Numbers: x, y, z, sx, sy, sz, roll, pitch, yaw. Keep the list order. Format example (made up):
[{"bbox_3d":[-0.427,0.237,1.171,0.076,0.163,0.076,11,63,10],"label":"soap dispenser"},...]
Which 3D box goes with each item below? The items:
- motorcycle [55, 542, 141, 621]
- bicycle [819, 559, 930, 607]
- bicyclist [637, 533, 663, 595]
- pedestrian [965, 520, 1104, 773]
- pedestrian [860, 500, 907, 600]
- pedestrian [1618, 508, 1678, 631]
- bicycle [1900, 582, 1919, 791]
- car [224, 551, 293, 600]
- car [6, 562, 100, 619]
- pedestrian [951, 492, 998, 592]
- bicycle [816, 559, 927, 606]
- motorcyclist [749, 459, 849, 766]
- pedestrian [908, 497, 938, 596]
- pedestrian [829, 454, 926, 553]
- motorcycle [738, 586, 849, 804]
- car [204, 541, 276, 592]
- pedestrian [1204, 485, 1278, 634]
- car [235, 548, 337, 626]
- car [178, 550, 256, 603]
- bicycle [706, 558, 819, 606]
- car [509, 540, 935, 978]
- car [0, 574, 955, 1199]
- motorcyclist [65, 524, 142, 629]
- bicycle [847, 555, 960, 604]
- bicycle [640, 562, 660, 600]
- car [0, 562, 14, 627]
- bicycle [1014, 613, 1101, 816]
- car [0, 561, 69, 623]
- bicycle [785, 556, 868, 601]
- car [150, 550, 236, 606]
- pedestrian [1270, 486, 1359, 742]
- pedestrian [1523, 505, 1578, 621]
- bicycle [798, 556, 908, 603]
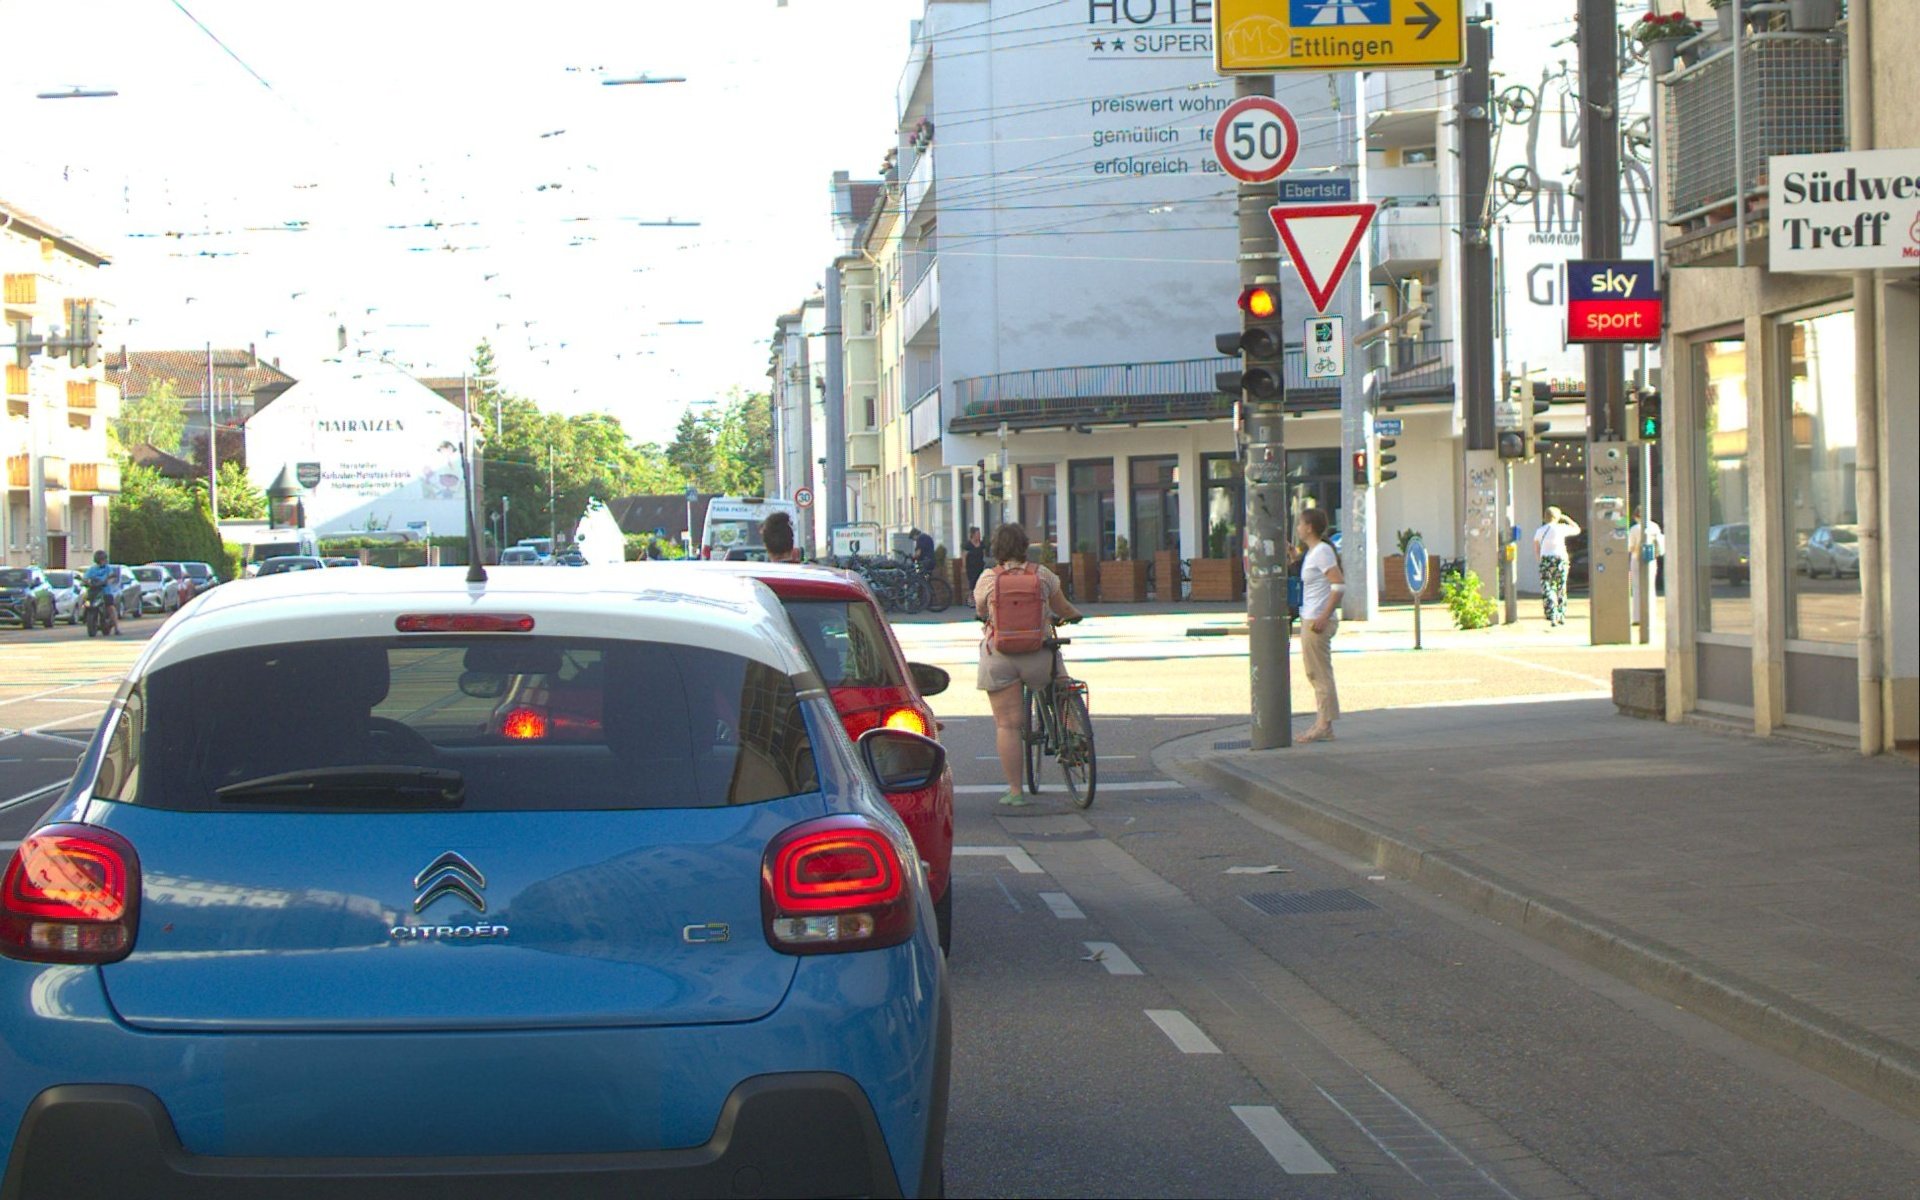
[{"bbox_3d":[-16.720,-0.363,66.768,0.923,1.481,3.726,1,1,-3],"label":"motorcycle"},{"bbox_3d":[-1.678,-0.329,67.258,2.132,0.898,0.367,1,0,-9],"label":"bicycle"},{"bbox_3d":[-7.396,-0.867,82.073,0.561,1.472,0.748,1,0,-7],"label":"bicyclist"},{"bbox_3d":[0.431,0.266,20.245,0.777,1.455,0.682,1,0,-1],"label":"pedestrian"},{"bbox_3d":[-1.544,-1.003,69.179,0.630,2.007,0.724,0,0,-36],"label":"pedestrian"},{"bbox_3d":[9.358,-0.416,46.800,0.752,1.652,0.883,1,0,10],"label":"pedestrian"},{"bbox_3d":[4.847,0.422,15.826,0.542,0.995,1.706,1,1,-1],"label":"bicycle"},{"bbox_3d":[-24.733,-0.883,121.307,1.846,1.681,3.875,1,1,-4],"label":"car"},{"bbox_3d":[-24.300,-0.272,92.193,1.732,1.493,4.001,1,1,-5],"label":"car"},{"bbox_3d":[0.290,-1.172,69.348,0.709,2.007,0.760,1,0,-20],"label":"pedestrian"},{"bbox_3d":[-1.747,-0.339,67.663,2.132,0.898,0.367,1,0,-9],"label":"bicycle"},{"bbox_3d":[-0.915,0.066,19.625,0.526,1.710,0.717,1,0,-1],"label":"motorcyclist"},{"bbox_3d":[-0.761,-1.086,70.310,0.577,2.007,0.626,1,0,-3],"label":"pedestrian"},{"bbox_3d":[-1.747,-2.034,73.536,1.993,2.007,4.000,1,1,-1],"label":"pedestrian"},{"bbox_3d":[-0.922,0.501,19.442,0.526,1.136,2.290,1,1,-1],"label":"motorcycle"},{"bbox_3d":[-24.417,-1.139,116.660,1.833,1.681,4.001,1,1,-4],"label":"car"},{"bbox_3d":[3.836,-0.548,46.974,0.926,2.007,0.759,1,0,-1],"label":"pedestrian"},{"bbox_3d":[-14.948,-0.301,76.397,1.774,1.660,3.857,1,1,-4],"label":"car"},{"bbox_3d":[-24.070,-0.776,111.513,1.882,1.681,4.001,1,1,-4],"label":"car"},{"bbox_3d":[-3.808,-0.348,66.231,2.132,0.898,0.367,1,0,-9],"label":"bicycle"},{"bbox_3d":[-0.828,0.531,13.203,1.424,1.462,2.924,-1,0,-1],"label":"car"},{"bbox_3d":[-0.865,0.680,7.173,1.654,1.439,3.523,1,1,-1],"label":"car"},{"bbox_3d":[-16.701,-0.465,67.043,1.185,2.007,1.276,-1,1,-3],"label":"motorcyclist"},{"bbox_3d":[-1.085,-0.393,65.907,2.132,0.898,0.367,1,0,-9],"label":"bicycle"},{"bbox_3d":[-7.412,-0.456,82.112,0.349,0.900,1.860,1,1,-9],"label":"bicycle"},{"bbox_3d":[-23.166,-0.124,79.001,1.787,1.506,4.150,1,1,-2],"label":"car"},{"bbox_3d":[0.570,0.653,20.521,0.427,1.119,1.998,1,1,-1],"label":"bicycle"},{"bbox_3d":[-23.617,-0.226,86.089,1.785,1.493,4.001,1,1,-4],"label":"car"},{"bbox_3d":[-2.695,-0.437,69.357,1.785,0.898,0.366,1,1,34],"label":"bicycle"},{"bbox_3d":[-23.684,-0.684,106.249,1.983,1.681,4.001,1,1,-3],"label":"car"},{"bbox_3d":[2.494,0.094,24.232,0.517,1.777,0.595,1,0,-2],"label":"pedestrian"},{"bbox_3d":[8.208,-0.514,47.794,0.736,1.595,0.748,1,0,10],"label":"pedestrian"},{"bbox_3d":[-2.123,-0.406,68.290,2.132,0.898,0.367,1,0,-9],"label":"bicycle"}]
